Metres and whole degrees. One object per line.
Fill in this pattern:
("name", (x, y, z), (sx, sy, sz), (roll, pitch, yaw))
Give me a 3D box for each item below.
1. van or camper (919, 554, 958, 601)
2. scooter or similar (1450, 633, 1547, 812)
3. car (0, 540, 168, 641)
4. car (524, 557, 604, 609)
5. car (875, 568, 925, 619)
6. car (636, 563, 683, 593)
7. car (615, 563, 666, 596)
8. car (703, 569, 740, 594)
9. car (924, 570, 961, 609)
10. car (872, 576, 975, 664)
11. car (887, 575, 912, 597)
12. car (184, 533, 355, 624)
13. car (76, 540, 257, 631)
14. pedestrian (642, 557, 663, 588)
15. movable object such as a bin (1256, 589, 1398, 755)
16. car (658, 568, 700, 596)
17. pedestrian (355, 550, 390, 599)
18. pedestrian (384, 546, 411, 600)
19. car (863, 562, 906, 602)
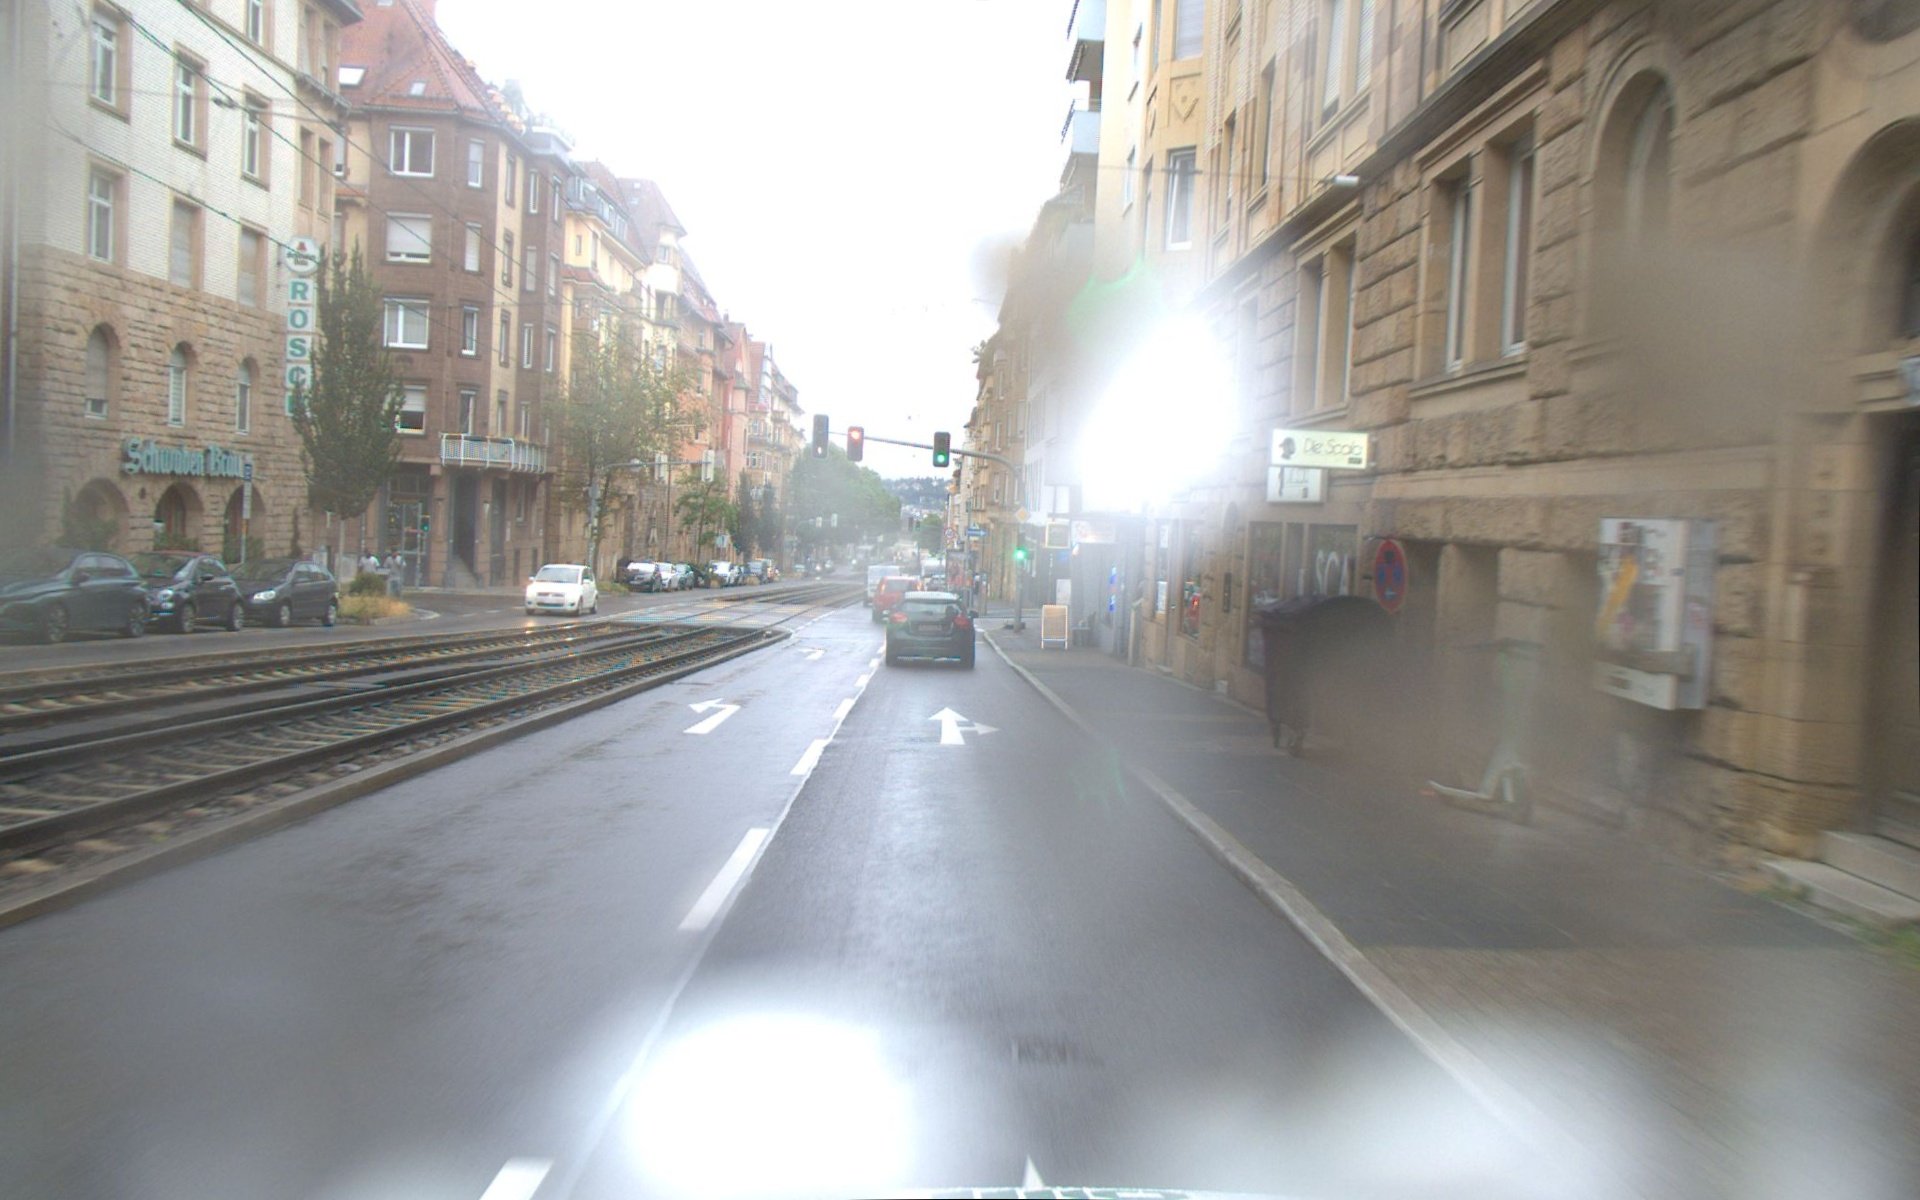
("van or camper", (-1.237, -1.280, 94.137), (2.022, 2.512, 6.118), (3, 0, -1))
("scooter or similar", (3.558, 0.790, 10.968), (0.205, 1.131, 0.889), (1, -1, -11))
("car", (-14.735, -0.189, 26.801), (1.765, 1.480, 4.429), (2, 0, -2))
("car", (-12.316, -0.516, 51.670), (1.594, 1.507, 3.580), (3, 0, -1))
("car", (-2.027, -0.254, 56.426), (1.505, 1.536, 4.000), (4, 2, -1))
("car", (-15.869, -1.176, 87.589), (1.633, 1.450, 4.263), (3, 1, 0))
("car", (-15.935, -0.995, 82.551), (1.729, 1.512, 4.000), (3, 0, 0))
("car", (-16.231, -1.240, 112.642), (1.748, 1.617, 4.352), (2, 0, 2))
("car", (-0.932, -0.564, 85.794), (1.733, 1.839, 4.481), (4, 1, -1))
("car", (-0.756, 0.364, 33.227), (1.907, 1.592, 3.641), (2, 0, -2))
("car", (-4.673, -1.074, 128.231), (1.864, 1.621, 3.999), (2, 0, -1))
("car", (-15.128, -0.455, 36.464), (1.847, 1.757, 3.742), (5, 0, 4))
("car", (-14.945, -0.275, 31.345), (1.771, 1.524, 3.524), (3, 0, -2))
("pedestrian", (-18.283, -1.649, 98.248), (0.987, 1.783, 0.924), (4, 1, -1))
("movable object such as a bin", (3.416, 0.637, 15.513), (0.988, 1.476, 1.393), (1, 0, -1))
("car", (-15.773, -0.996, 92.972), (1.529, 1.463, 4.147), (2, 0, 2))
("pedestrian", (-17.667, -0.769, 49.748), (0.738, 1.446, 0.645), (2, 0, 1))
("pedestrian", (-16.911, -0.805, 49.733), (0.506, 1.598, 0.643), (2, 0, 3))
("car", (-3.558, -0.839, 77.643), (1.883, 1.684, 3.998), (4, 0, -3))
